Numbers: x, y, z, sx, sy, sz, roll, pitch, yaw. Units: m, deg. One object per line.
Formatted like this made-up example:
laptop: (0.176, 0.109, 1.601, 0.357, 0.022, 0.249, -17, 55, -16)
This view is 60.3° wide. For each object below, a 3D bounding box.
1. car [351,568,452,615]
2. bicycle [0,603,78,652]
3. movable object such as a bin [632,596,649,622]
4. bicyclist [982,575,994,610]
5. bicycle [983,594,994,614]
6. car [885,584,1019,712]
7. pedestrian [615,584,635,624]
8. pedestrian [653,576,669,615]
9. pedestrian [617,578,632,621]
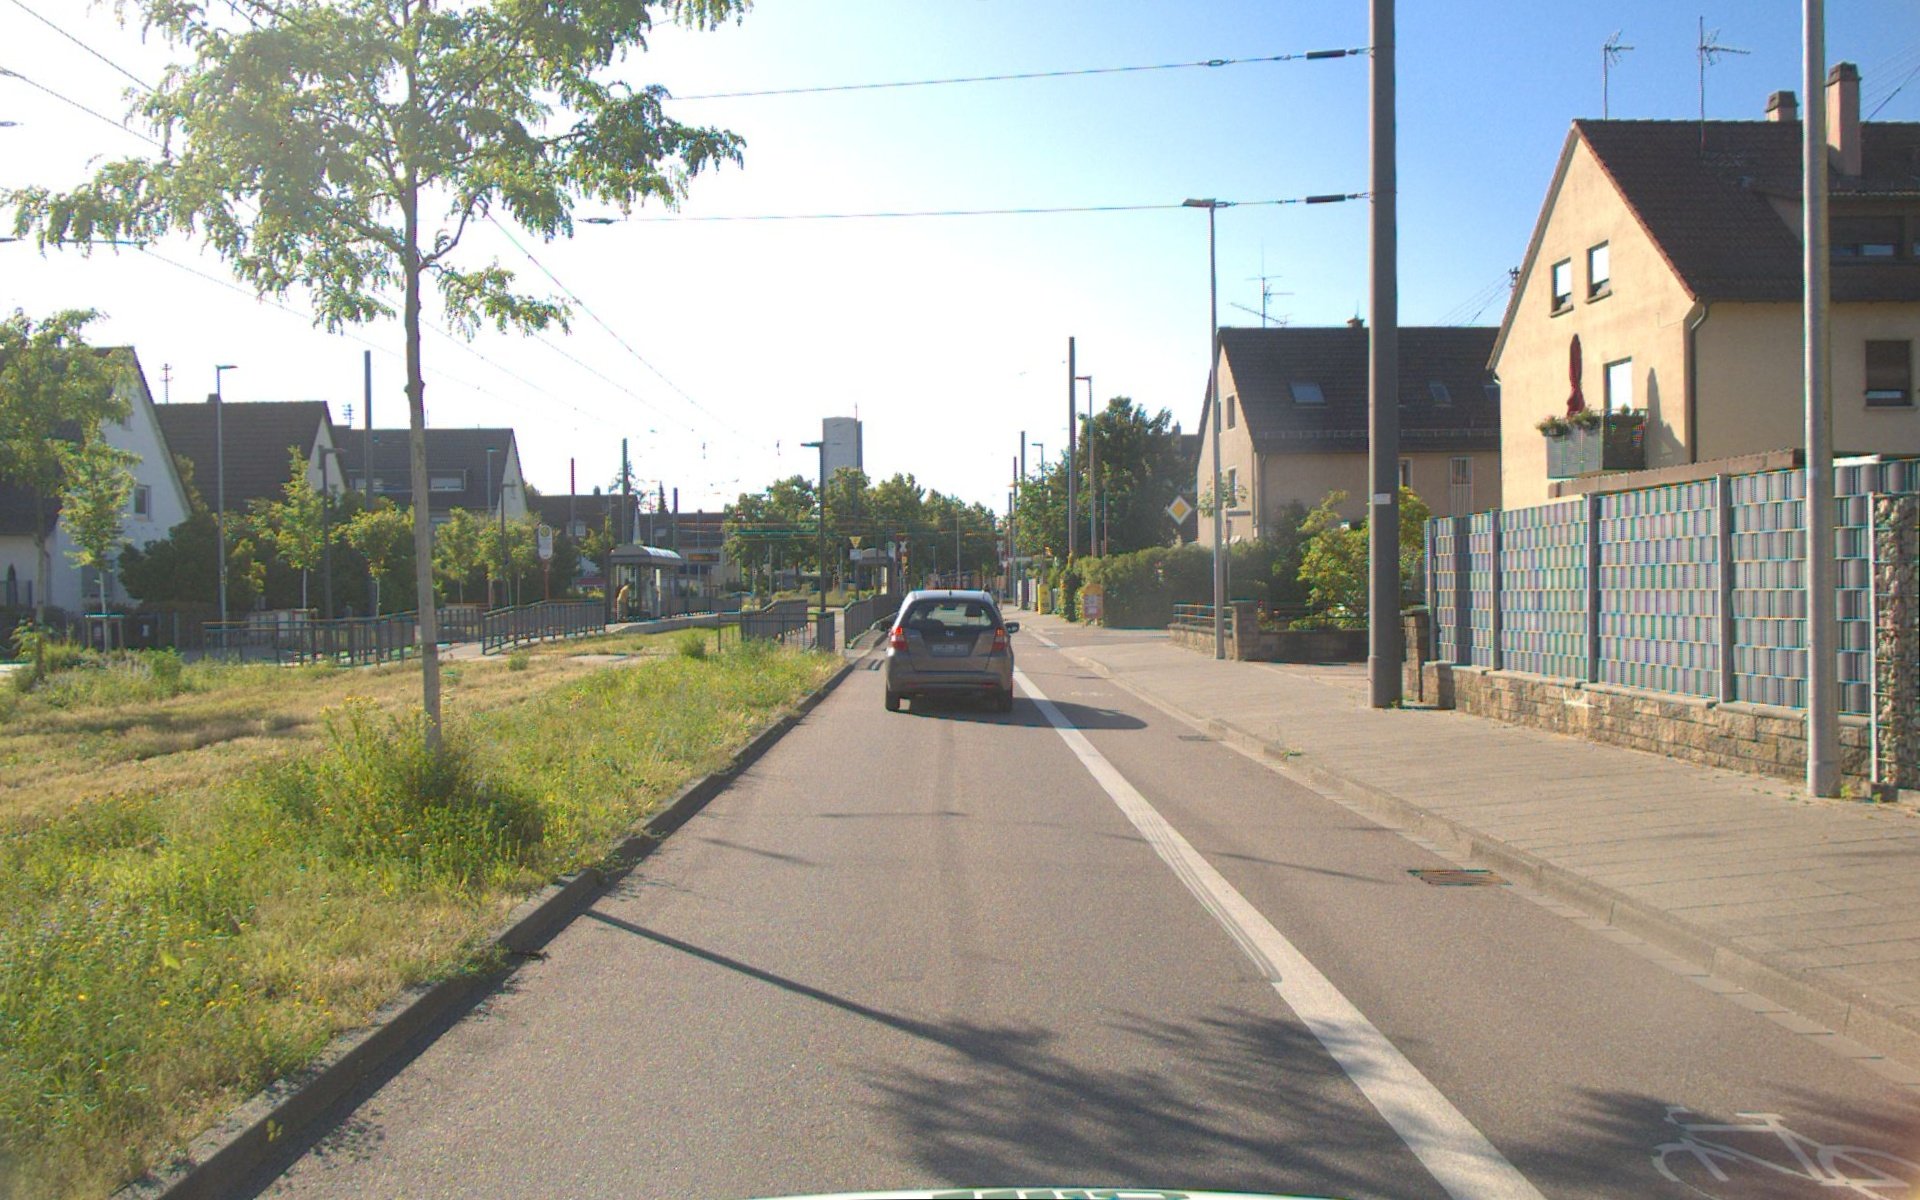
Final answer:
car: (-24.825, -0.355, 73.598, 3.912, 2.004, 1.929, 1, -1, -9)
bicycle: (-27.179, 0.813, 48.733, 1.951, 1.389, 0.704, -1, 0, -8)
movable object such as a bin: (-12.643, 0.344, 65.450, 0.535, 1.005, 0.741, -1, 0, -5)
bicyclist: (1.397, -0.357, 82.468, 0.586, 1.731, 0.683, 1, -1, -1)
bicycle: (1.428, 0.218, 82.673, 0.465, 0.978, 1.657, 1, 0, 0)
car: (-0.136, 0.591, 22.170, 1.636, 1.562, 3.486, 1, 0, -1)
pedestrian: (-13.237, 0.136, 65.336, 0.662, 1.562, 0.748, -1, 0, -5)
pedestrian: (-13.427, -0.190, 74.322, 0.490, 1.726, 0.771, -3, 0, 0)
pedestrian: (-13.577, -0.029, 66.895, 0.509, 1.738, 0.580, -1, 0, -5)
